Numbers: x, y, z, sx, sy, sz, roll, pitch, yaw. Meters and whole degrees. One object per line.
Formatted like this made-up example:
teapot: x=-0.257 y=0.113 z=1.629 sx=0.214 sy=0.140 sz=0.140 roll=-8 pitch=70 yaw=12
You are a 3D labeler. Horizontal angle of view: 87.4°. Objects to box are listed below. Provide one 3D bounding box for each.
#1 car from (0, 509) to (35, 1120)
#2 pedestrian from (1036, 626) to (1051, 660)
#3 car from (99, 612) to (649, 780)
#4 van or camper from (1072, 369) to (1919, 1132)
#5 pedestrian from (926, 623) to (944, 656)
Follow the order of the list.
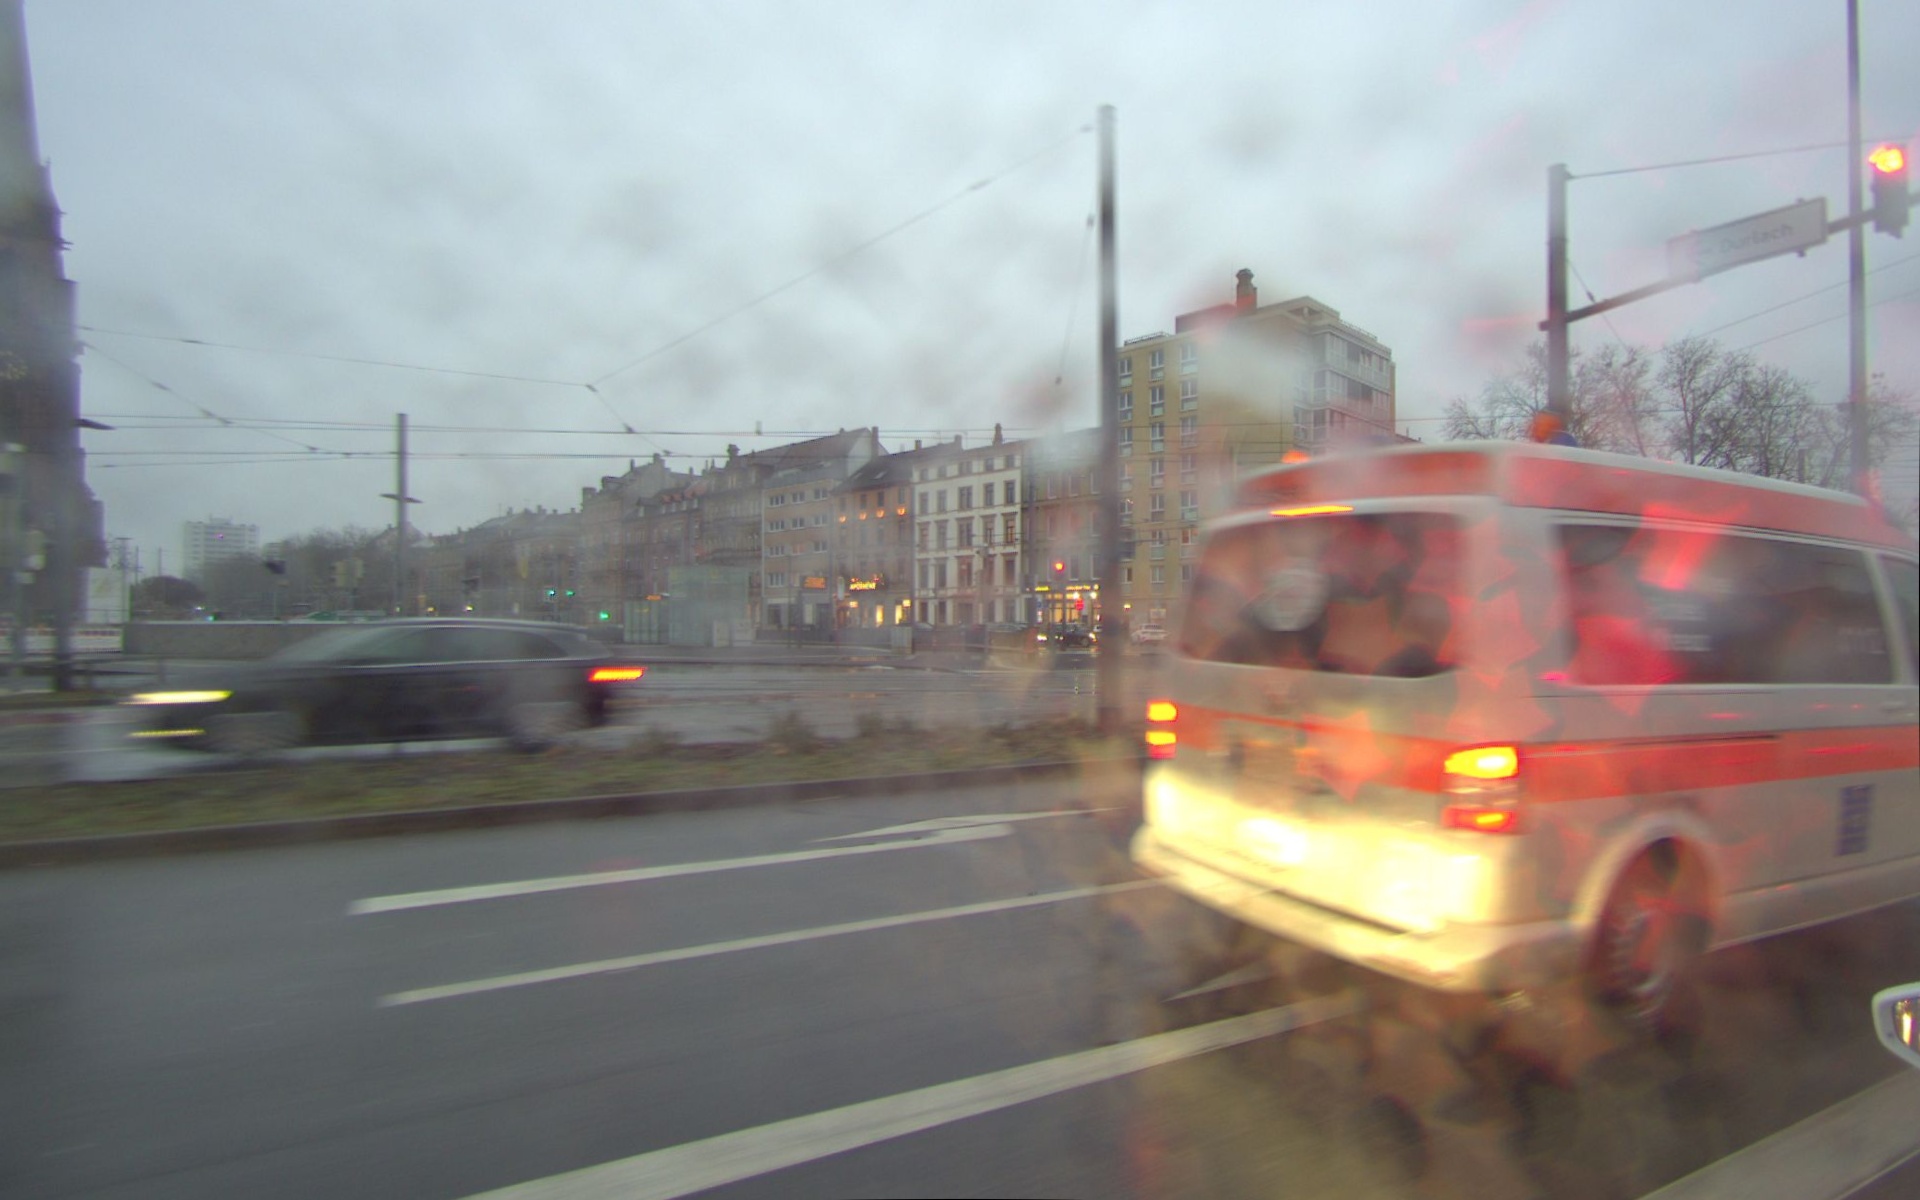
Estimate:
car: x=-4.119 y=0.545 z=0.936 sx=4.490 sy=1.622 sz=1.775 roll=1 pitch=1 yaw=-32
pedestrian: x=4.618 y=2.369 z=55.582 sx=0.568 sy=1.826 sz=0.622 roll=1 pitch=-1 yaw=-38
car: x=-6.016 y=0.893 z=10.837 sx=4.775 sy=1.438 sz=1.793 roll=2 pitch=-1 yaw=-36
van or camper: x=3.215 y=0.465 z=4.970 sx=4.925 sy=2.137 sz=2.192 roll=1 pitch=0 yaw=-29
pedestrian: x=-1.287 y=2.020 z=51.488 sx=0.687 sy=1.718 sz=0.573 roll=-1 pitch=-2 yaw=43
